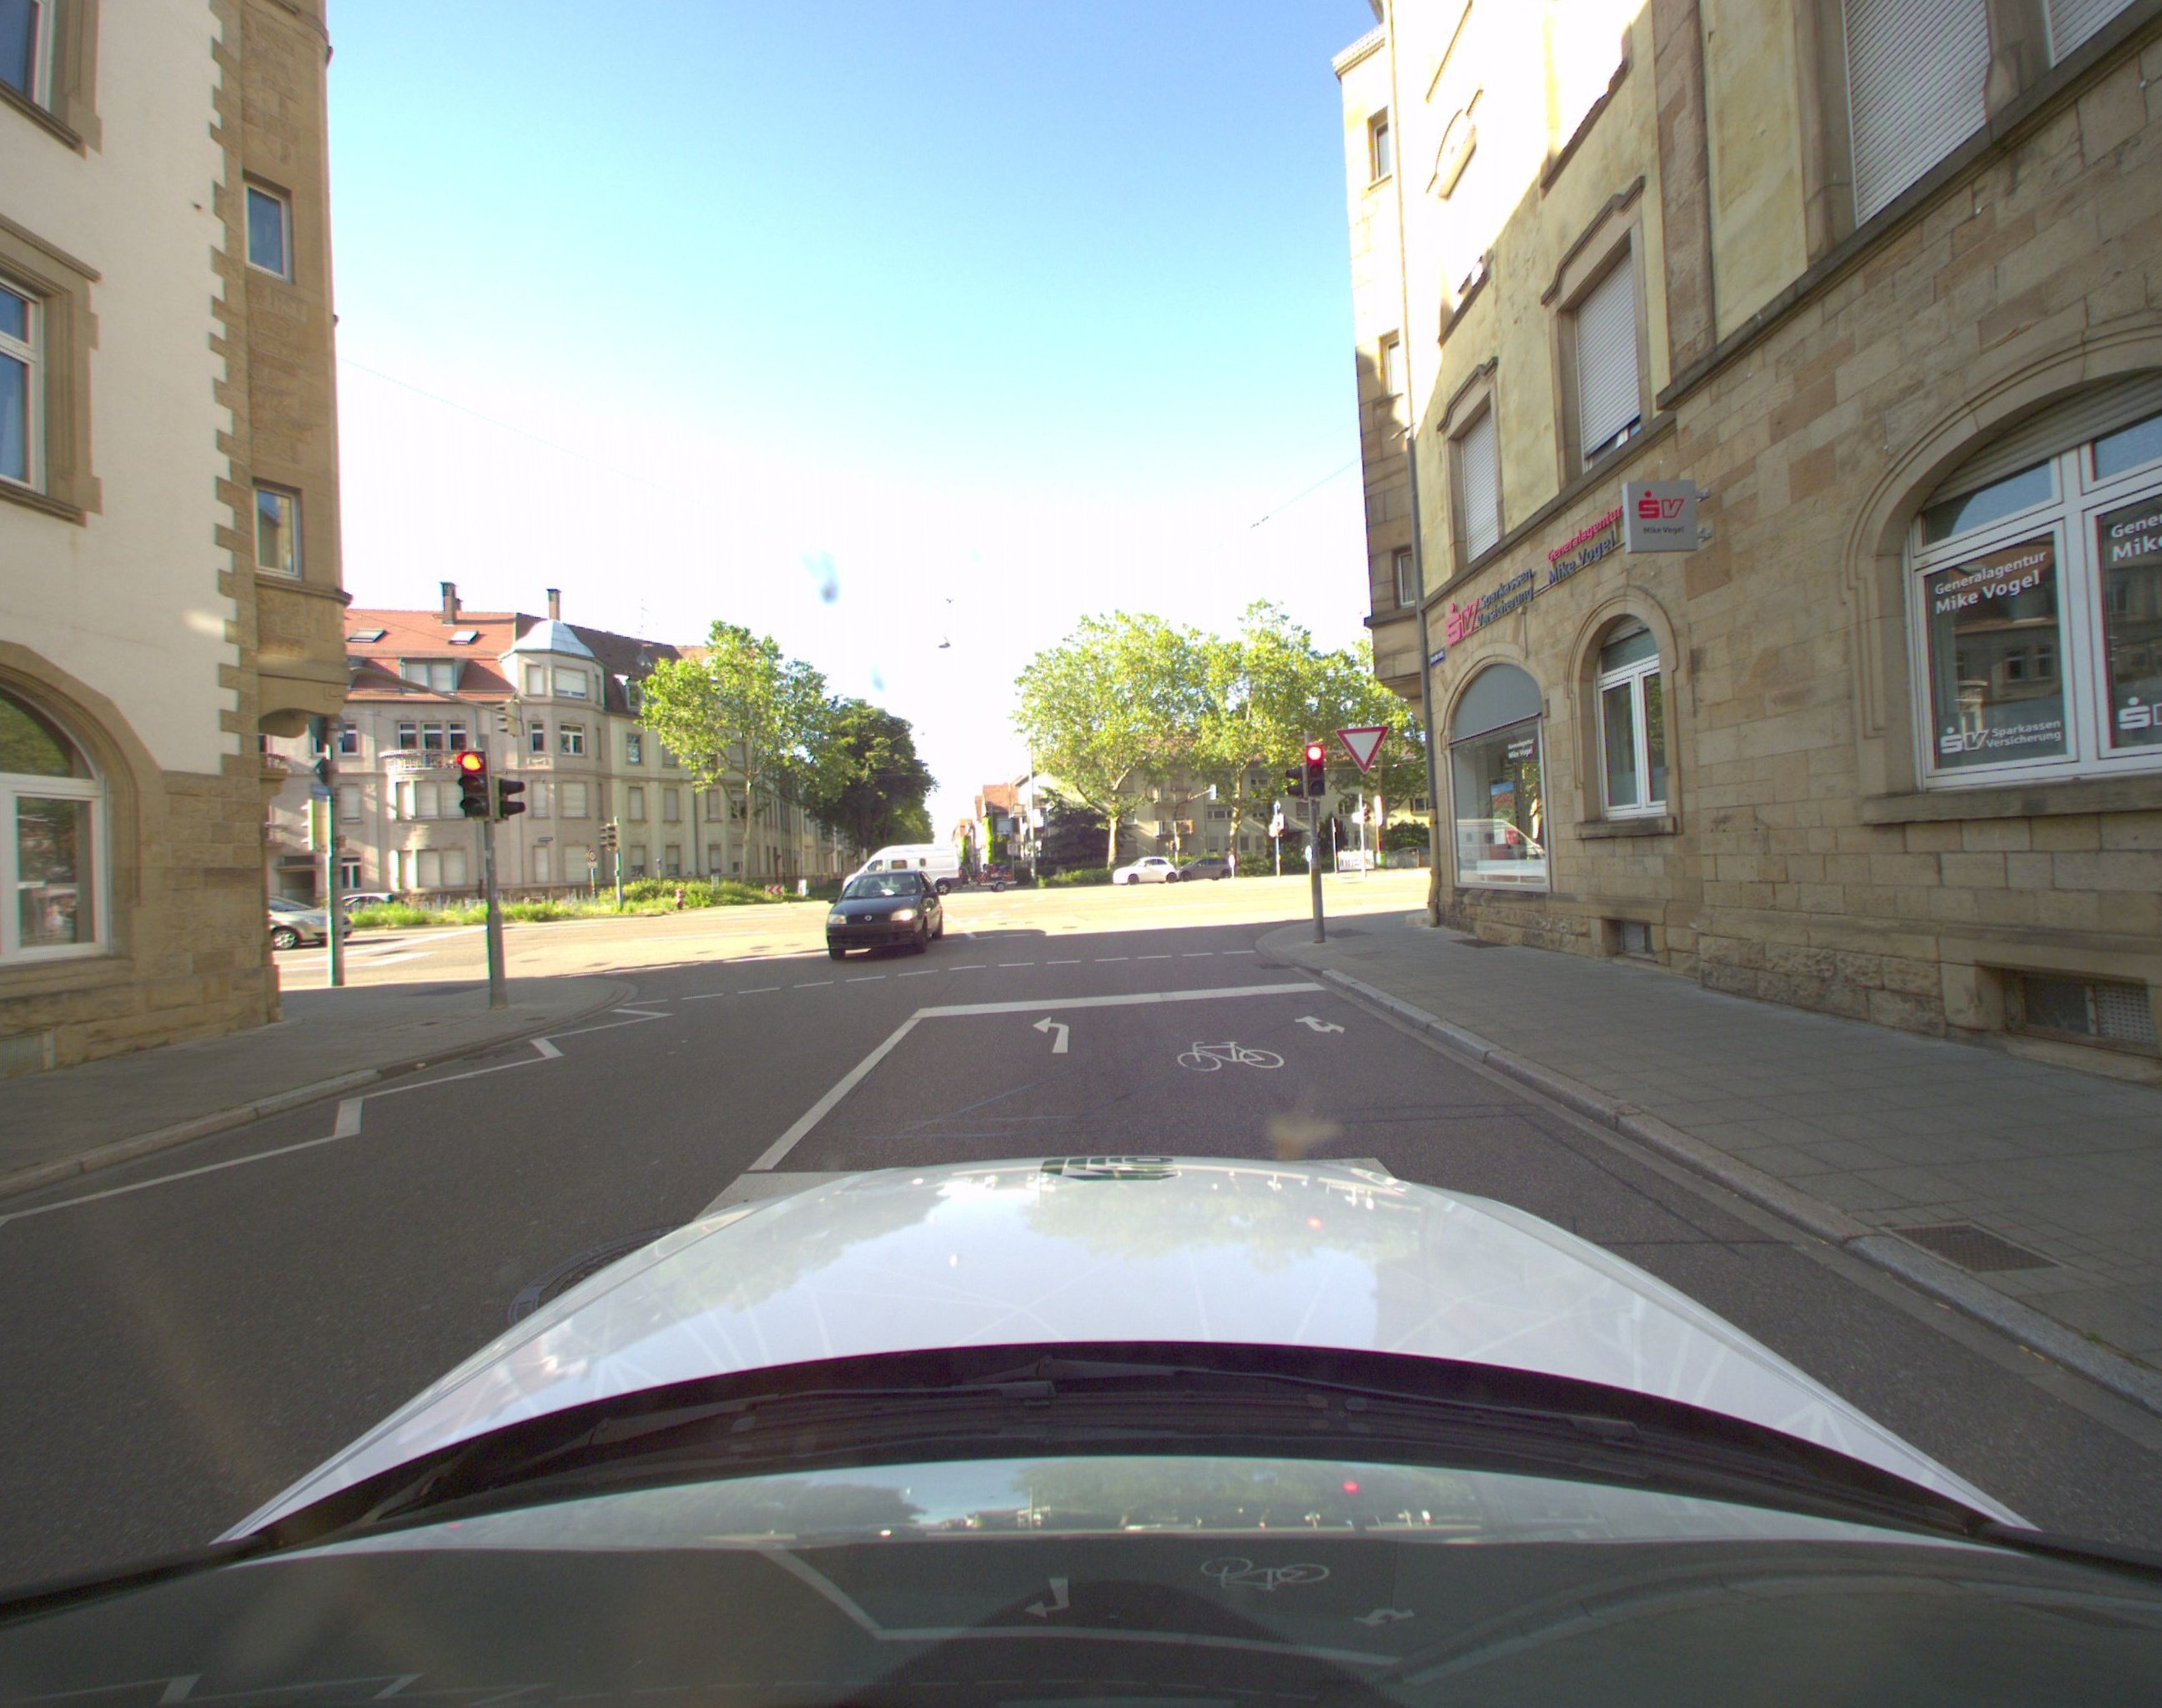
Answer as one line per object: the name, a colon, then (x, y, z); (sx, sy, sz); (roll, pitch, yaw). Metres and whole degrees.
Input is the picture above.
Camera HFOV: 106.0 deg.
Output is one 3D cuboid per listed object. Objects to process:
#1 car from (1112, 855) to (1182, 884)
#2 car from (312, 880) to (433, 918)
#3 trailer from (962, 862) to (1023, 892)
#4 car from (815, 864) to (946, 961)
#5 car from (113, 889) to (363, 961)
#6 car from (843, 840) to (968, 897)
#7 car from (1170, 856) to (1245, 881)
car: (3.714, 0.852, 46.035); (3.641, 1.457, 1.494); (-2, 0, -18)
car: (-31.553, 1.968, 36.374); (3.640, 1.457, 1.648); (-2, 0, -17)
trailer: (-4.742, 1.231, 43.619); (2.955, 1.457, 1.505); (-2, 0, -18)
car: (-3.499, 0.959, 14.836); (1.649, 1.457, 3.638); (-2, 0, -4)
car: (-21.934, 1.807, 21.403); (4.212, 1.456, 1.669); (-3, 0, -17)
car: (-9.095, 0.739, 42.186); (6.123, 2.637, 1.884); (-2, -1, -17)
car: (7.926, 0.895, 51.018); (4.399, 1.316, 1.636); (-2, 0, -18)
